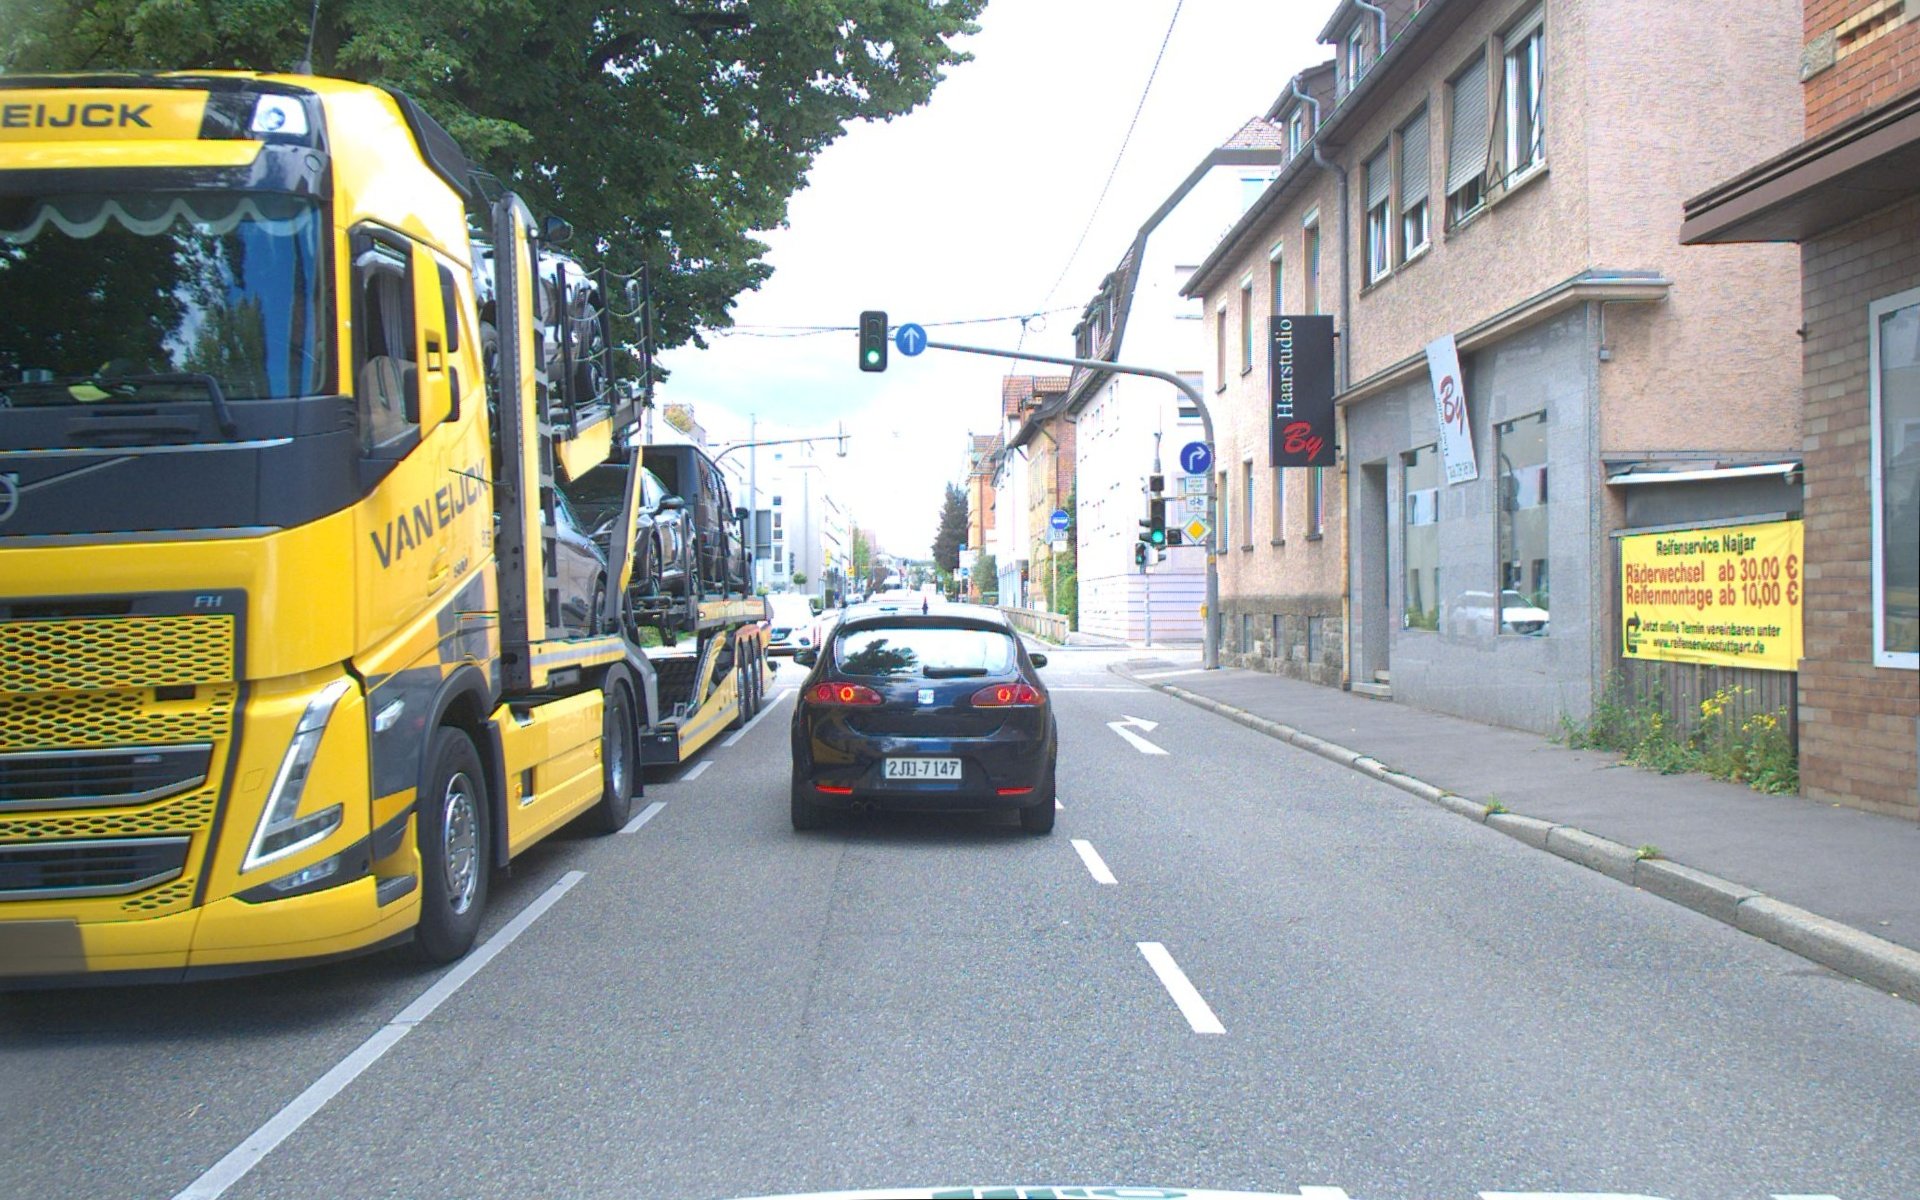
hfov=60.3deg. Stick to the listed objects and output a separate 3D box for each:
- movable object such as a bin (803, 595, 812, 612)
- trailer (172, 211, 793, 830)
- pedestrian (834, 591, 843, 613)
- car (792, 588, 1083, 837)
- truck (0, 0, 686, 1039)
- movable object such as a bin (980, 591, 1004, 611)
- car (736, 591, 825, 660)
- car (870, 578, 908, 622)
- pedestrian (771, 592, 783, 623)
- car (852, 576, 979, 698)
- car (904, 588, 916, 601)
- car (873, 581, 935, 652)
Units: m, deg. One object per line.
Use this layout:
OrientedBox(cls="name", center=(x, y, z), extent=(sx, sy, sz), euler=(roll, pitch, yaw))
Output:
OrientedBox(cls="movable object such as a bin", center=(-10.216, 0.225, 110.671), extent=(0.538, 1.097, 0.611), euler=(0, -1, -1))
OrientedBox(cls="trailer", center=(-3.723, -0.466, 17.613), extent=(2.800, 3.875, 14.385), euler=(0, 0, -2))
OrientedBox(cls="pedestrian", center=(-10.159, 0.162, 138.278), extent=(0.716, 1.759, 0.859), euler=(0, -1, -3))
OrientedBox(cls="car", center=(-0.194, 0.680, 11.835), extent=(1.723, 1.467, 3.998), euler=(1, 0, -2))
OrientedBox(cls="truck", center=(-3.495, -0.487, 9.207), extent=(2.786, 3.848, 7.667), euler=(0, 0, -1))
OrientedBox(cls="movable object such as a bin", center=(2.504, 0.080, 128.508), extent=(1.781, 1.462, 1.992), euler=(1, 0, -1))
OrientedBox(cls="car", center=(-4.321, 0.599, 40.329), extent=(1.731, 1.495, 4.225), euler=(-3, 0, -1))
OrientedBox(cls="car", center=(-2.884, 0.012, 67.170), extent=(1.501, 1.723, 3.691), euler=(1, 0, -2))
OrientedBox(cls="pedestrian", center=(-9.221, 0.380, 83.398), extent=(0.516, 1.575, 0.541), euler=(0, -1, -2))
OrientedBox(cls="car", center=(-0.706, 0.538, 25.541), extent=(1.805, 1.723, 3.998), euler=(1, 0, -2))
OrientedBox(cls="car", center=(-6.616, -0.716, 217.021), extent=(1.501, 1.722, 3.691), euler=(-1, 0, -2))
OrientedBox(cls="car", center=(-1.436, 0.423, 42.256), extent=(1.501, 1.723, 3.691), euler=(1, 0, -2))
